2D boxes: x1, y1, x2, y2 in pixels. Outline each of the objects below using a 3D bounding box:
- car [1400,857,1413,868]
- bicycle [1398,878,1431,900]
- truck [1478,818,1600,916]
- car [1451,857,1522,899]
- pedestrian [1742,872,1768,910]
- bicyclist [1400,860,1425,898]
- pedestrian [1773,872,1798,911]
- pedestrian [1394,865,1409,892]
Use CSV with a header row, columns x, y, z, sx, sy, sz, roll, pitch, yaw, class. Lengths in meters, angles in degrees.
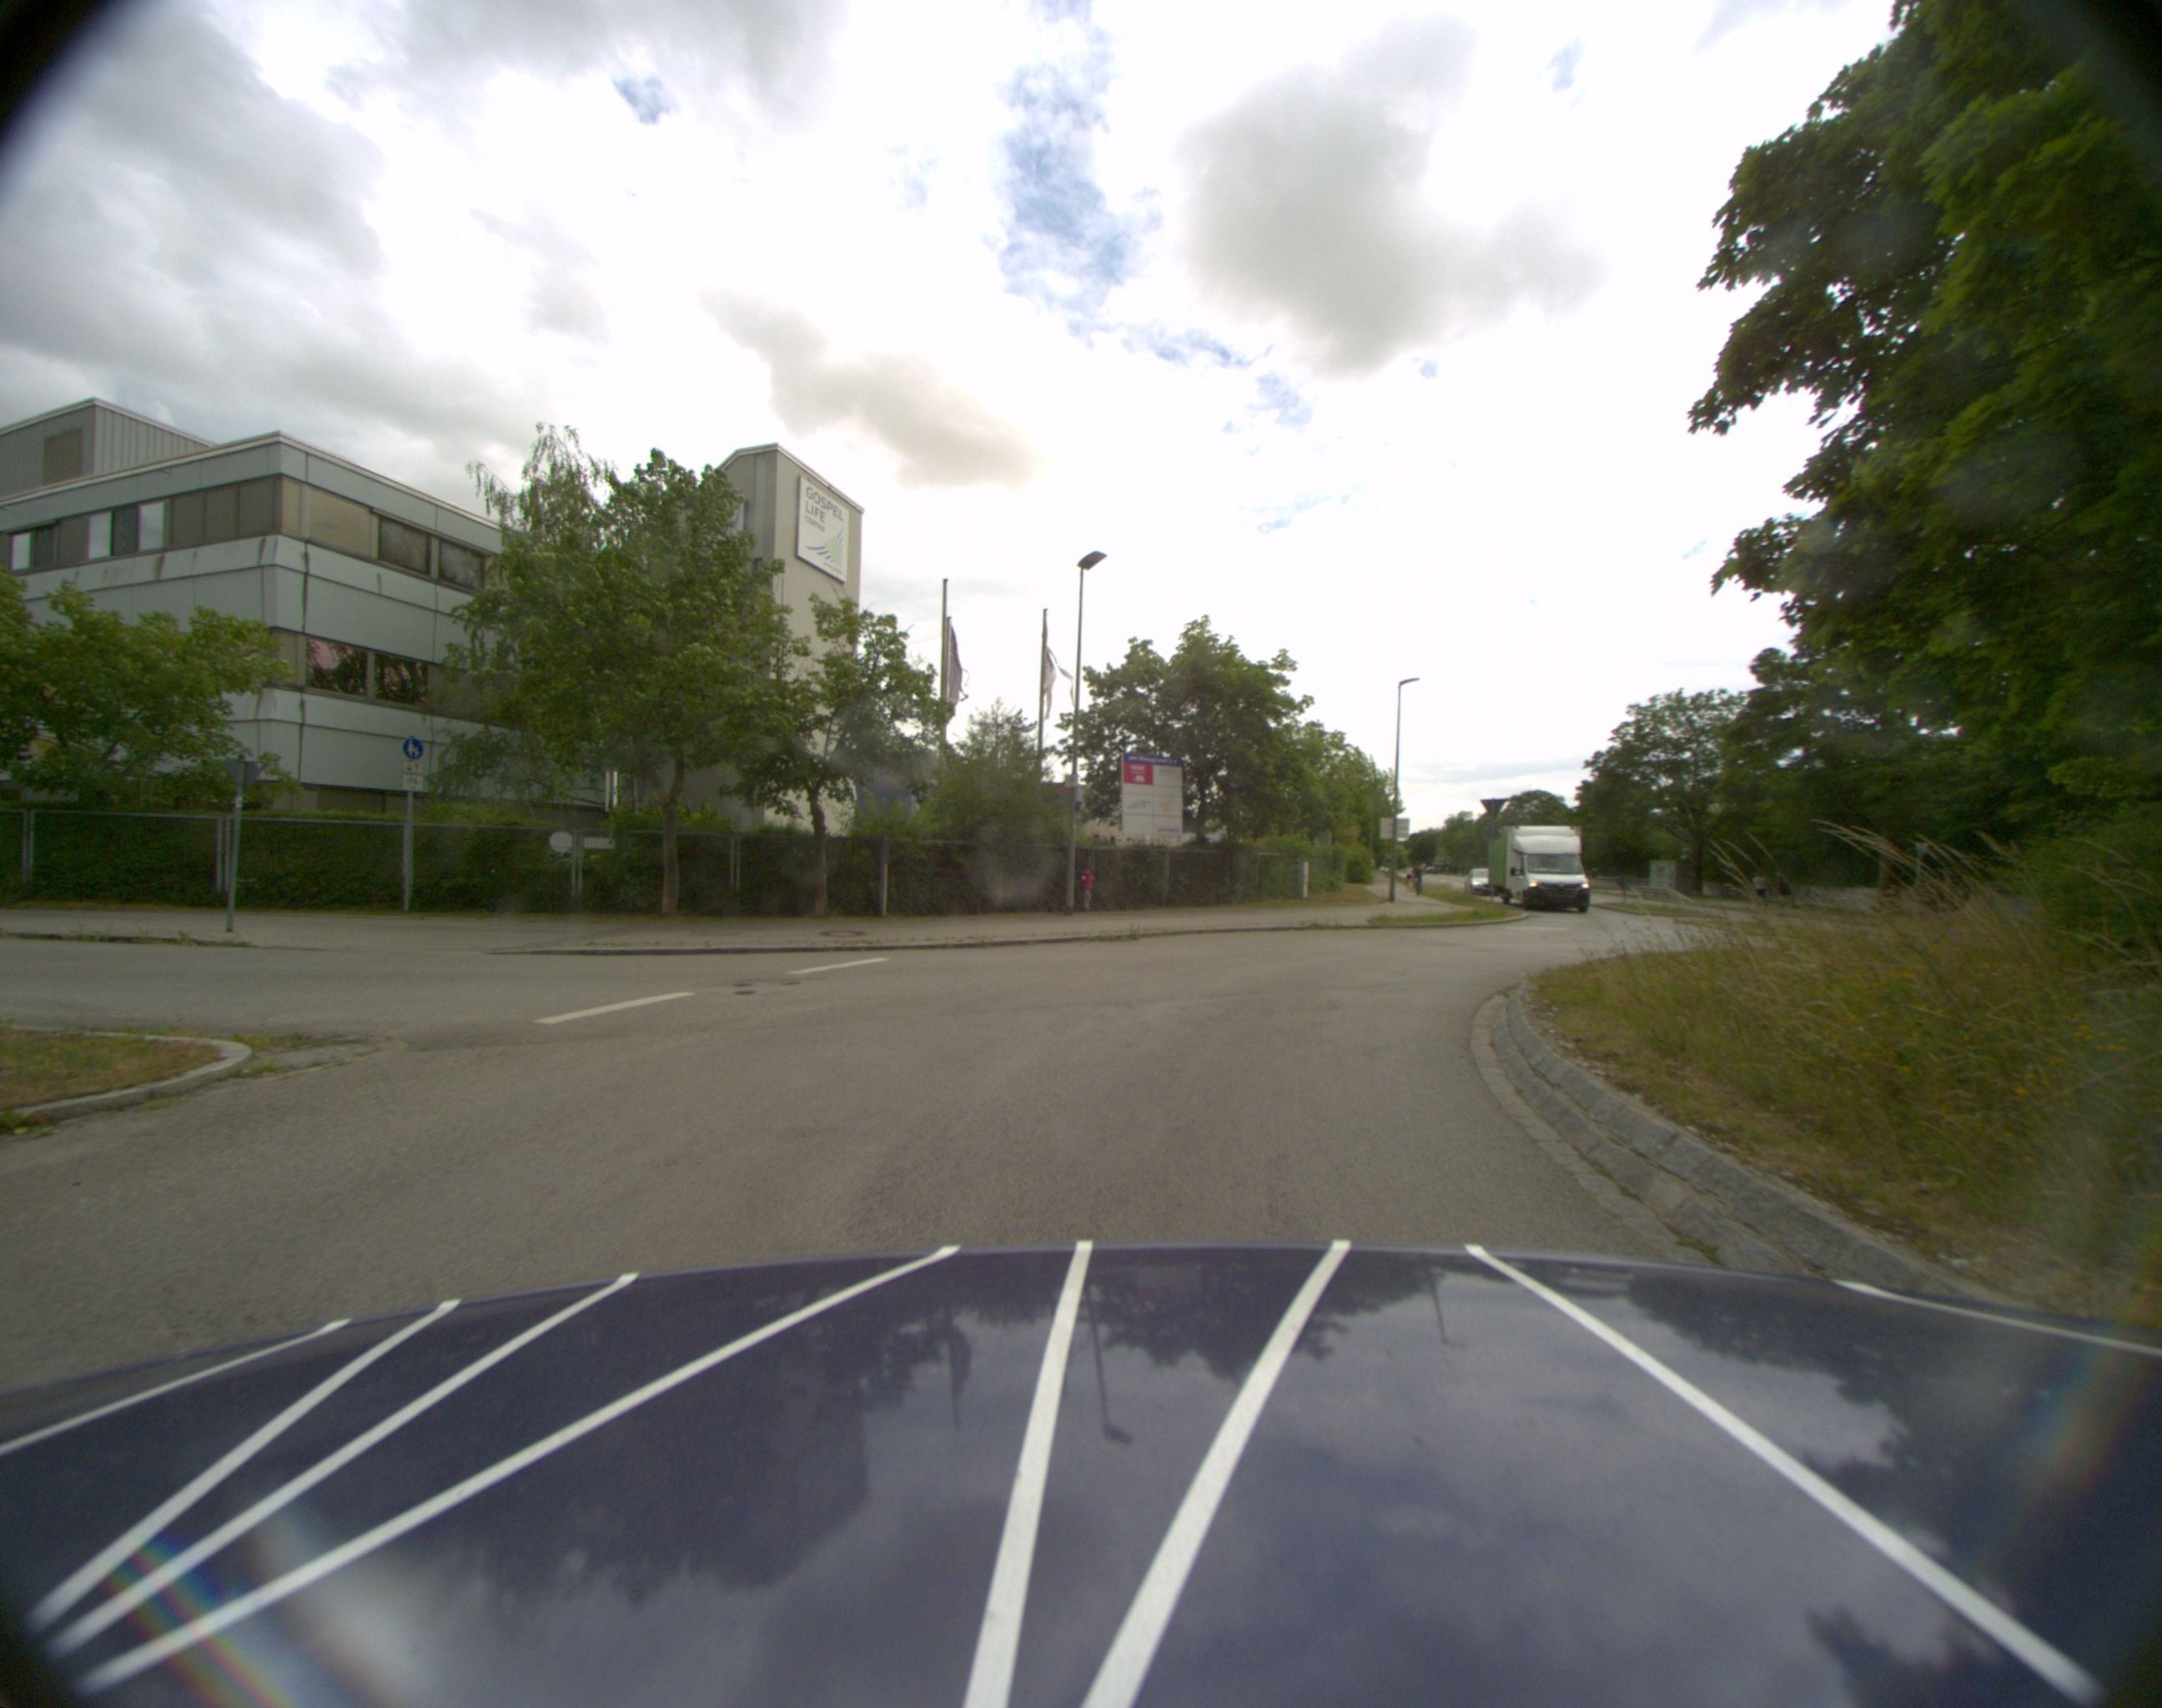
x,y,z,sx,sy,sz,roll,pitch,yaw,class
64.128,1.582,149.728,2.033,2.113,5.732,0,0,19,car
16.277,1.671,37.128,0.964,0.871,2.498,4,1,14,bicycle
17.982,0.450,30.362,2.610,3.427,7.518,1,0,19,truck
22.438,1.271,42.310,2.610,2.113,5.732,0,0,19,car
32.654,1.782,36.804,0.730,1.770,0.595,1,0,14,pedestrian
16.356,1.227,37.510,0.810,1.778,0.980,4,1,13,bicyclist
33.597,1.788,36.242,0.634,1.798,0.616,1,0,14,pedestrian
18.913,1.428,44.847,0.544,1.521,0.844,2,0,3,pedestrian
